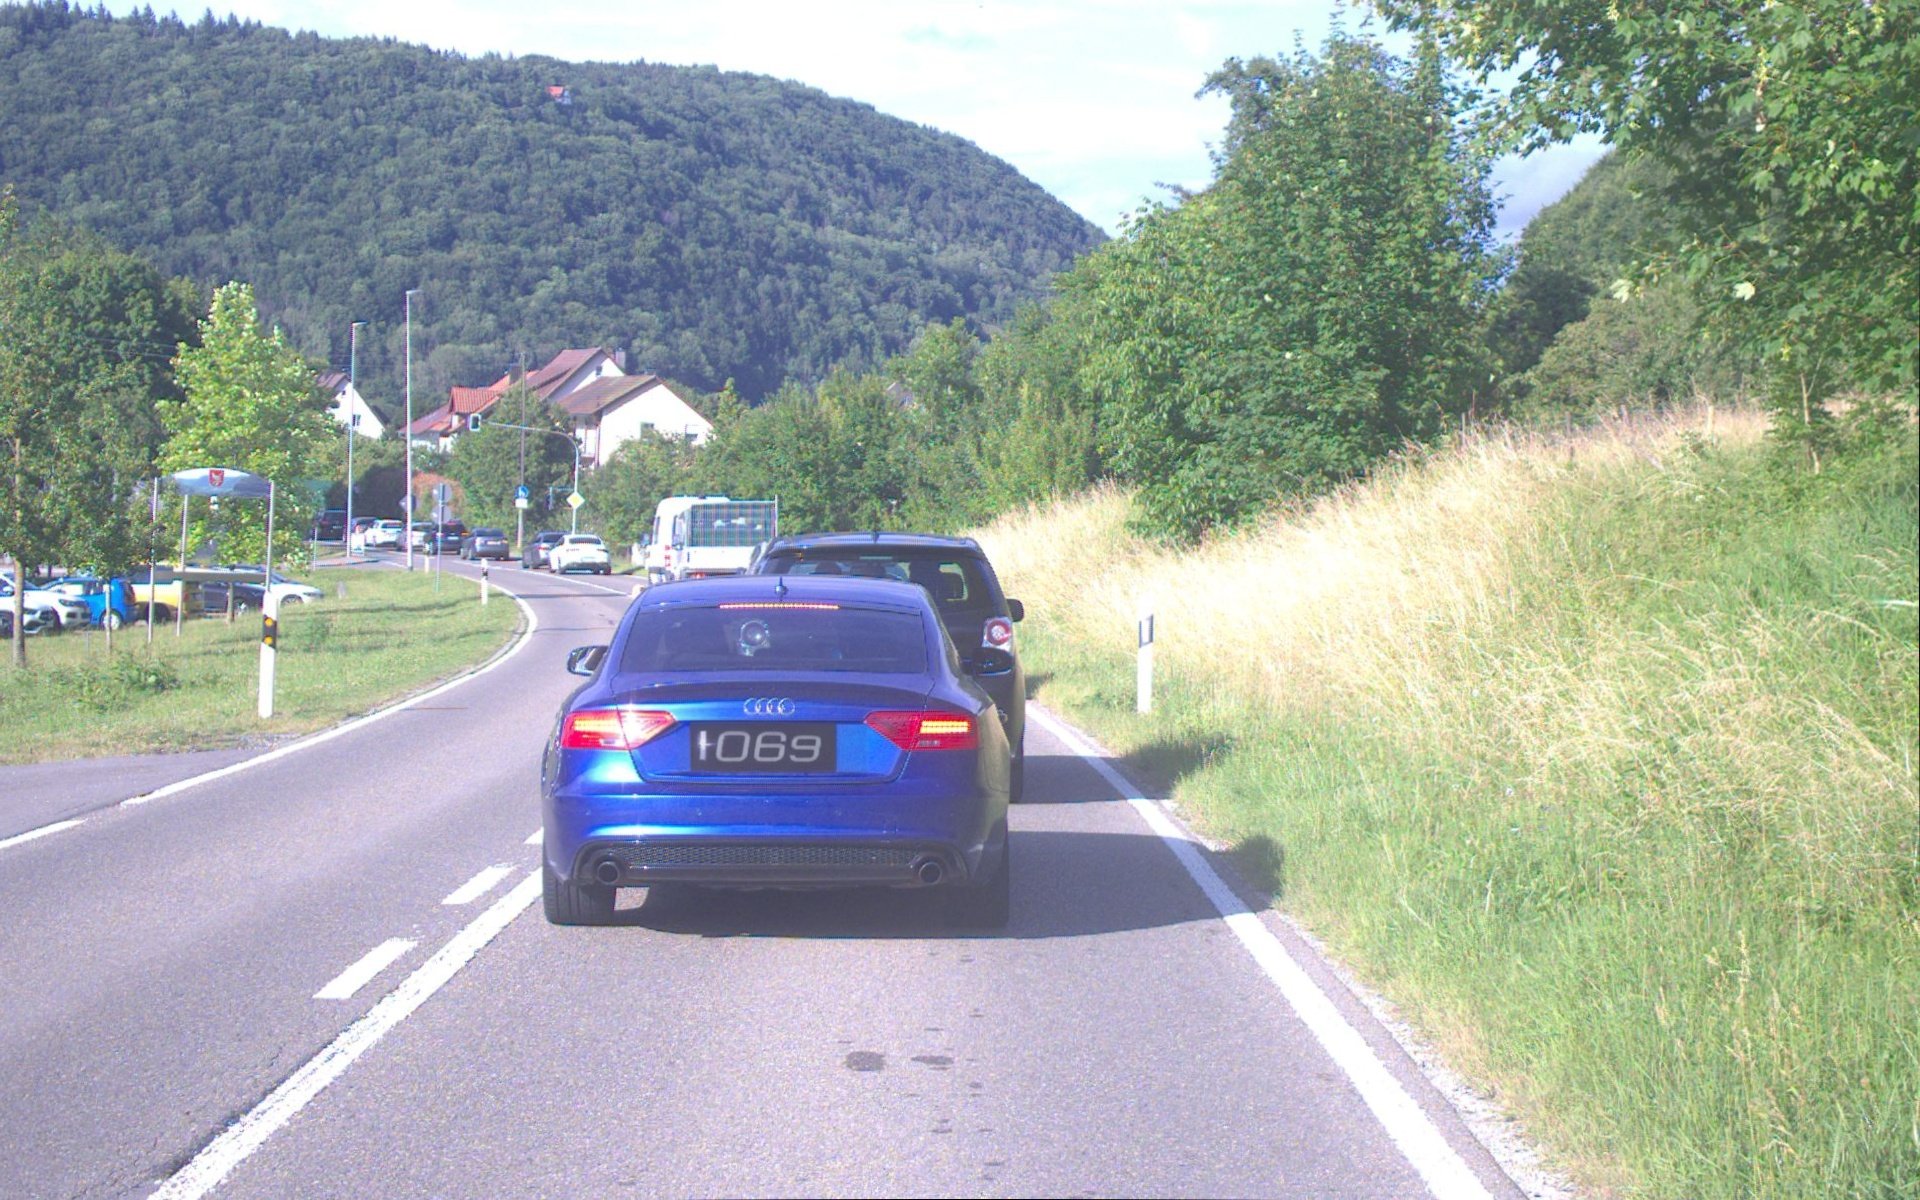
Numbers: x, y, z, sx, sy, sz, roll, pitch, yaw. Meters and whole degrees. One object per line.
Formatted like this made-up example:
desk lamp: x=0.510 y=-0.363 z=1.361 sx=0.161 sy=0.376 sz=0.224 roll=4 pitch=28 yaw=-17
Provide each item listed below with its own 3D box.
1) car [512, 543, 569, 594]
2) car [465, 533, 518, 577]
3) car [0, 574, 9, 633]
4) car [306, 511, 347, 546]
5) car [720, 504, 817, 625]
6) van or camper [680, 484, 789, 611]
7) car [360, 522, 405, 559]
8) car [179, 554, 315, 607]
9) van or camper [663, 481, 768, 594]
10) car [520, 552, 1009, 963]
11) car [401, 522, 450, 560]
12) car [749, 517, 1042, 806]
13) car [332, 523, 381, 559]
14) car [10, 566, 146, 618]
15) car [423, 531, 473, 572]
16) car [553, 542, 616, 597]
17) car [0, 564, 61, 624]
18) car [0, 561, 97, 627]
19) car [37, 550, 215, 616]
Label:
car: x=-16.252 y=-1.224 z=133.126 sx=1.659 sy=1.918 sz=4.001 roll=-1 pitch=1 yaw=-14
car: x=-20.771 y=-2.003 z=152.315 sx=1.659 sy=1.918 sz=4.001 roll=-1 pitch=1 yaw=-17
car: x=-25.034 y=0.079 z=83.095 sx=3.625 sy=1.400 sz=1.596 roll=0 pitch=-2 yaw=5
car: x=-36.394 y=-4.093 z=197.479 sx=1.676 sy=1.918 sz=4.001 roll=-1 pitch=1 yaw=-20
car: x=-3.332 y=-0.627 z=59.343 sx=1.567 sy=2.007 sz=4.001 roll=-1 pitch=1 yaw=-4
van or camper: x=-4.694 y=-1.078 z=70.775 sx=2.052 sy=2.497 sz=5.812 roll=-1 pitch=1 yaw=-5
car: x=-30.524 y=-3.130 z=181.602 sx=1.676 sy=1.918 sz=4.001 roll=-1 pitch=1 yaw=-20
car: x=-23.352 y=-0.641 z=112.708 sx=4.036 sy=1.655 sz=1.655 roll=-1 pitch=1 yaw=5
van or camper: x=-6.228 y=-1.577 z=87.009 sx=2.280 sy=2.704 sz=5.769 roll=1 pitch=1 yaw=-7
car: x=-0.691 y=0.546 z=14.230 sx=1.742 sy=1.445 sz=3.517 roll=2 pitch=1 yaw=1
car: x=-26.960 y=-2.971 z=173.332 sx=1.676 sy=1.918 sz=4.001 roll=-1 pitch=1 yaw=-20
car: x=-0.442 y=0.326 z=21.525 sx=1.645 sy=1.619 sz=3.517 roll=1 pitch=1 yaw=-2
car: x=-33.292 y=-3.254 z=189.552 sx=1.954 sy=1.918 sz=4.001 roll=-1 pitch=1 yaw=-20
car: x=-24.485 y=-0.224 z=95.513 sx=3.369 sy=1.369 sz=1.660 roll=-1 pitch=1 yaw=-2
car: x=-24.552 y=-2.320 z=164.708 sx=1.676 sy=1.918 sz=4.001 roll=-1 pitch=1 yaw=-19
car: x=-13.427 y=-1.089 z=122.746 sx=1.659 sy=1.918 sz=4.001 roll=-1 pitch=1 yaw=-14
car: x=-24.607 y=-0.141 z=86.242 sx=3.667 sy=1.489 sz=1.596 roll=0 pitch=-1 yaw=5
car: x=-24.771 y=-0.161 z=89.656 sx=4.077 sy=1.667 sz=1.596 roll=0 pitch=1 yaw=5
car: x=-23.805 y=-0.492 z=98.206 sx=4.554 sy=1.808 sz=1.841 roll=-1 pitch=1 yaw=5
